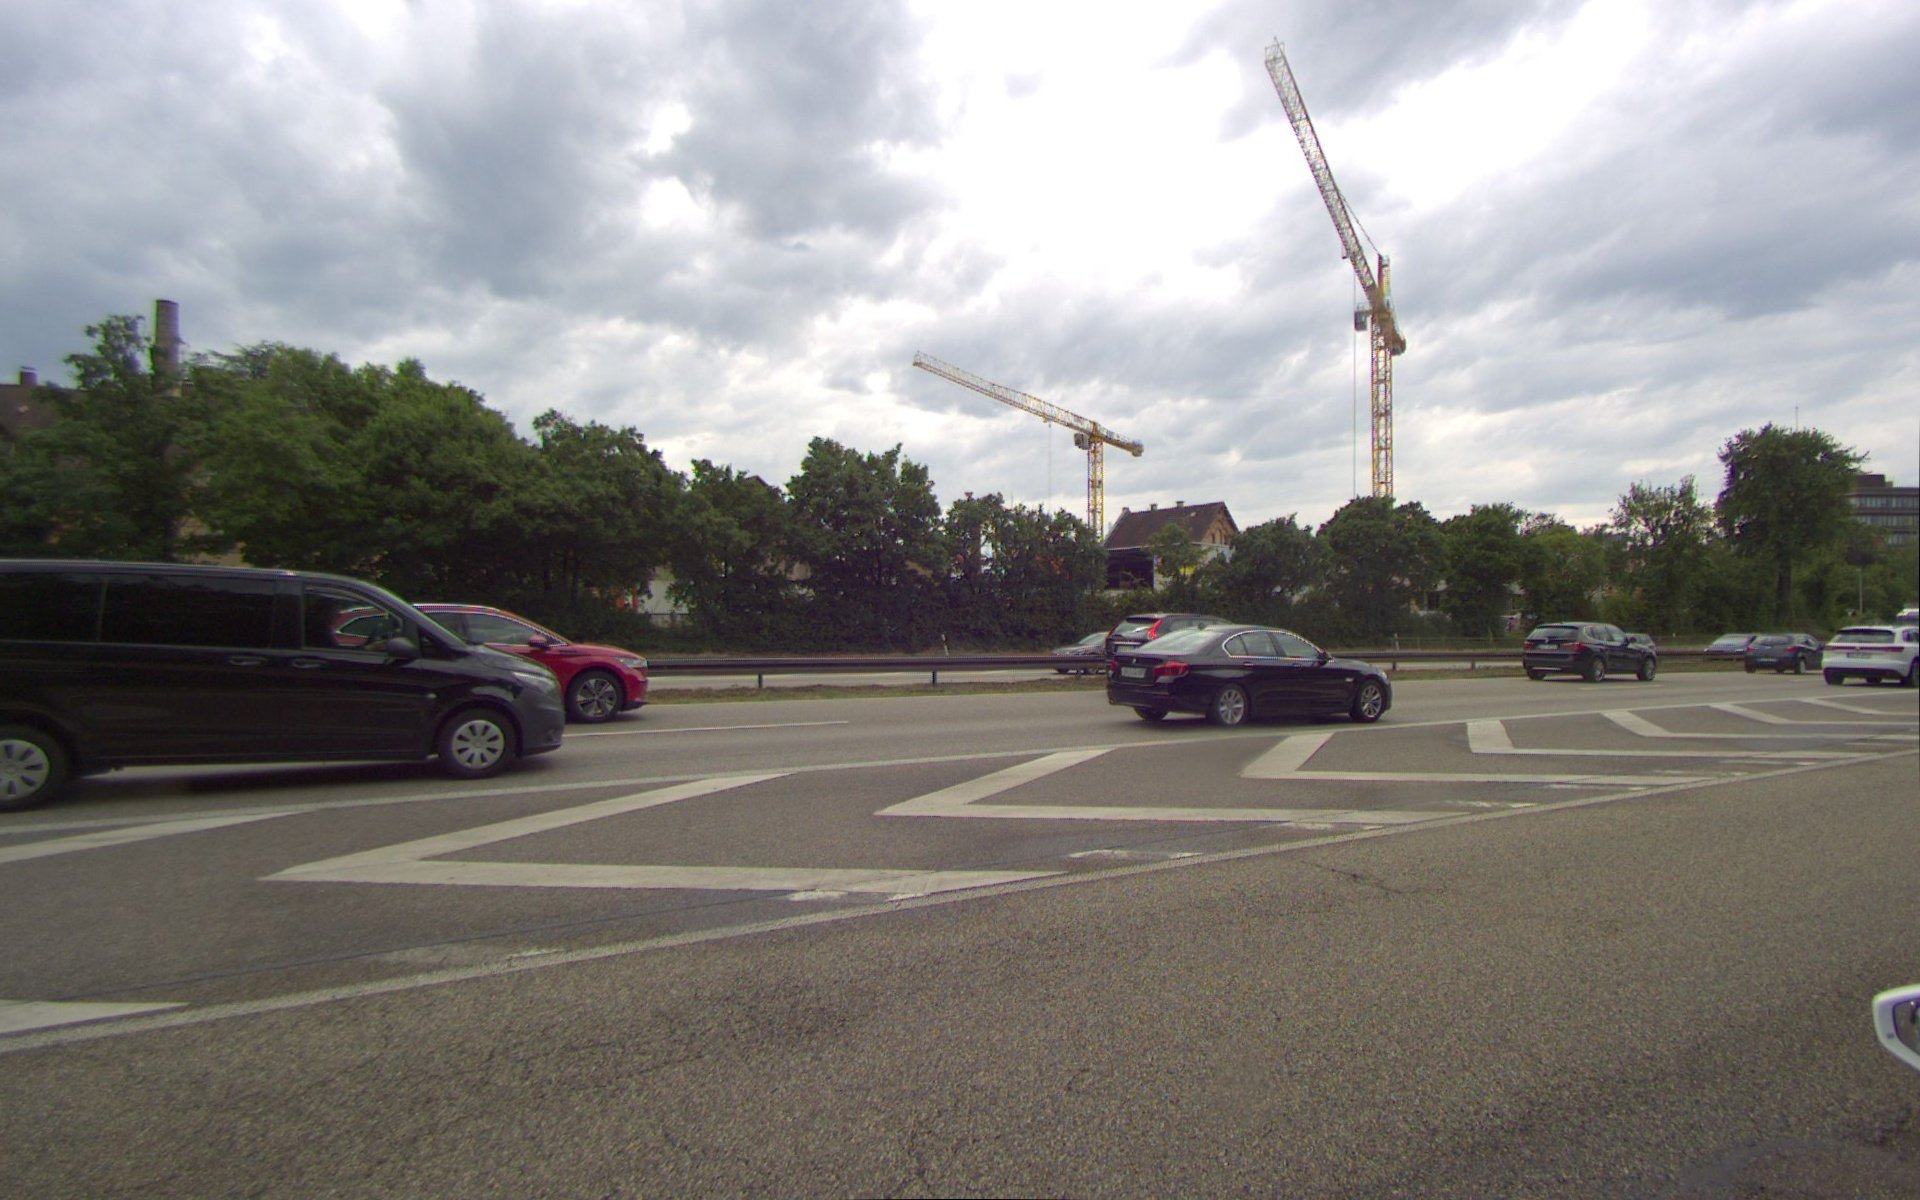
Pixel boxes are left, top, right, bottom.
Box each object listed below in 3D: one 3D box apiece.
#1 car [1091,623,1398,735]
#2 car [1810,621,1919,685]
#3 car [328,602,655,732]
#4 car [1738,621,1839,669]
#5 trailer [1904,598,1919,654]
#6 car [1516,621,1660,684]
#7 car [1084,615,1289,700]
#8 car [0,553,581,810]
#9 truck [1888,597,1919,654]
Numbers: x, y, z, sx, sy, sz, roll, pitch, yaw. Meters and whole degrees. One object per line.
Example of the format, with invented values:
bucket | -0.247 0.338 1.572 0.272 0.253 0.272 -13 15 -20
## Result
car | 4.354 1.100 15.183 4.608 1.476 1.706 1 -1 -29
car | 26.539 1.485 28.831 4.455 1.714 1.937 1 -2 -31
car | -6.425 0.874 13.993 3.897 1.588 1.759 1 -2 -29
car | 30.366 1.630 36.806 3.963 1.629 1.678 1 0 -32
trailer | 76.206 2.020 76.944 12.929 4.082 2.385 1 -2 -32
car | 18.219 1.468 29.111 4.258 1.703 1.880 1 -2 -32
car | 4.866 1.174 21.435 4.216 1.657 1.743 1 -1 -30
car | -6.126 0.640 9.087 4.758 1.875 1.983 1 -1 -32
truck | 69.650 1.878 72.912 3.955 4.073 2.394 1 -2 -31
